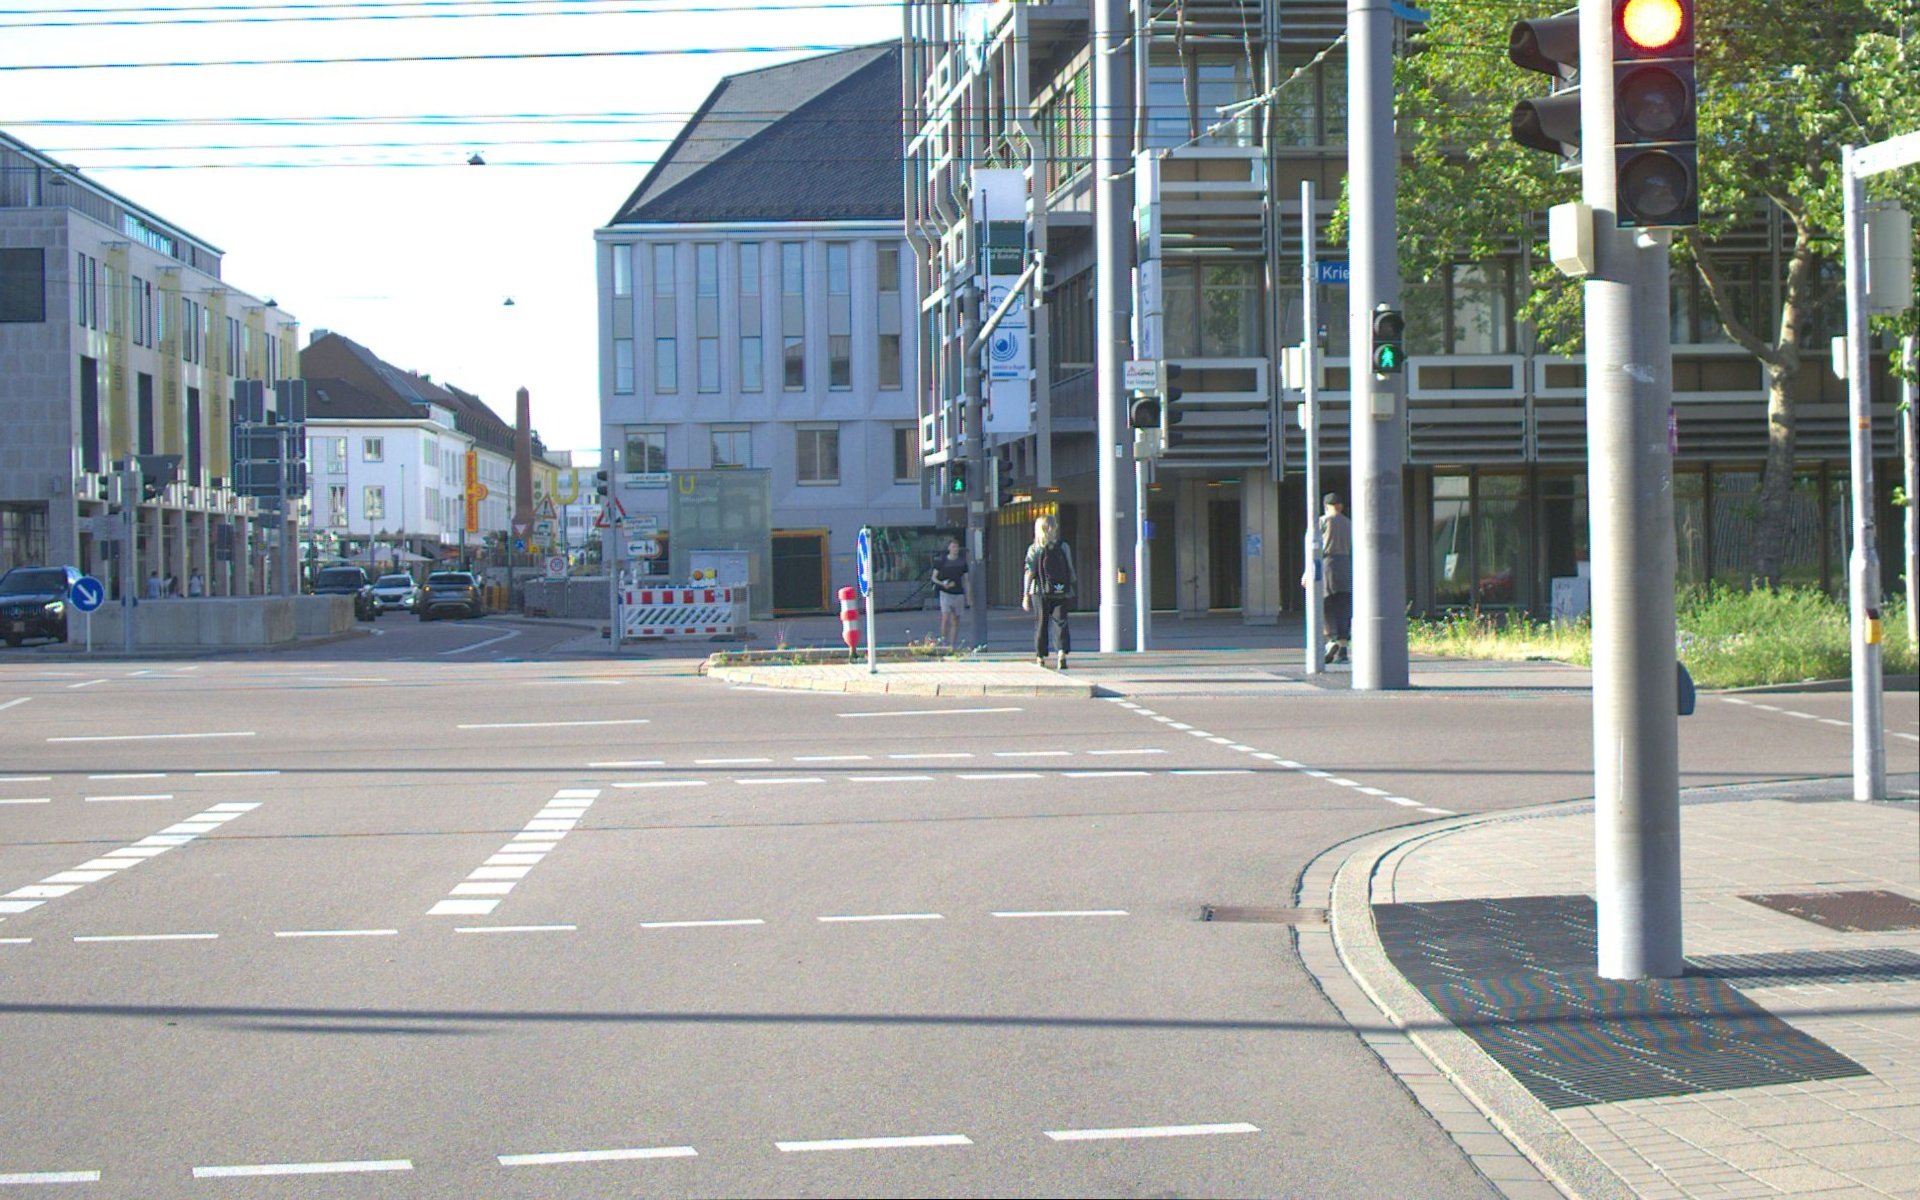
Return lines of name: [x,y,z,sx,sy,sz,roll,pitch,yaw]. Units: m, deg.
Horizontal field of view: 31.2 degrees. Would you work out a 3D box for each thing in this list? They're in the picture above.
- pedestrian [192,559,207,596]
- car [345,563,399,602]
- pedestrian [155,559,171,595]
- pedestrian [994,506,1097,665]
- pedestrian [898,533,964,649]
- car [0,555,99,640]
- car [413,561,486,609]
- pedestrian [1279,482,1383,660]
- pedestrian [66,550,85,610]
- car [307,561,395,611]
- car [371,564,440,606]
pedestrian: [-28.356,-0.847,128.216,0.488,1.352,0.564,1,0,-6]
car: [-29.485,-0.869,172.554,2.174,1.866,5.616,-1,0,-4]
pedestrian: [-29.658,-0.862,127.891,0.488,1.352,0.564,1,0,-6]
pedestrian: [0.853,-0.154,34.417,0.895,1.544,0.924,-1,2,-7]
pedestrian: [-0.478,-0.154,57.057,1.012,1.904,1.051,0,1,4]
car: [-19.162,-0.068,71.128,1.937,1.672,4.295,-1,1,-5]
car: [-16.066,-0.469,108.302,1.936,1.445,4.263,-1,0,-4]
pedestrian: [3.675,-0.295,34.106,0.855,1.738,0.739,-1,1,-8]
pedestrian: [-29.978,-0.672,116.527,0.616,2.007,0.478,1,0,-15]
car: [-21.167,-0.470,119.625,2.174,1.686,5.487,-1,0,-1]
car: [-22.980,-0.606,142.678,2.174,1.686,5.616,-1,0,-3]
